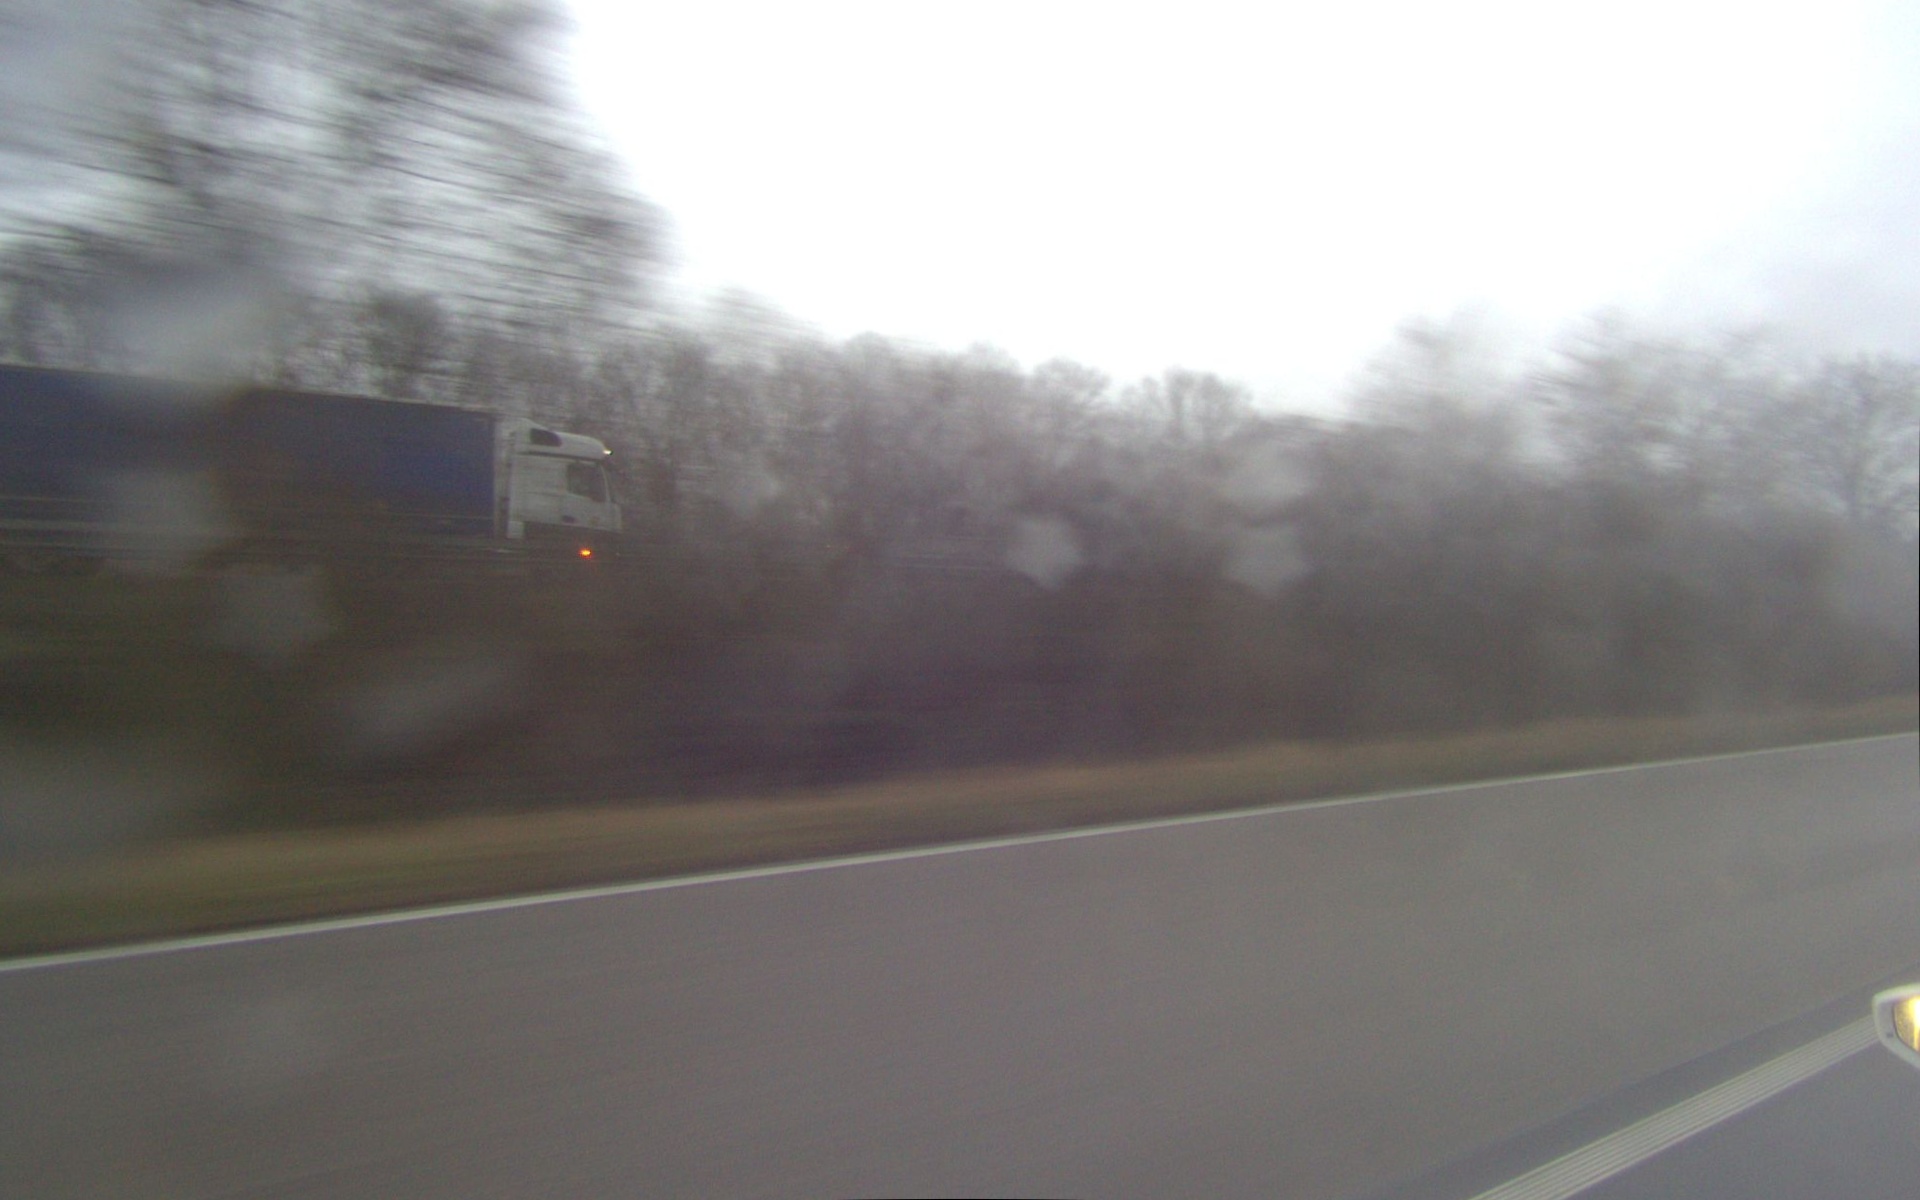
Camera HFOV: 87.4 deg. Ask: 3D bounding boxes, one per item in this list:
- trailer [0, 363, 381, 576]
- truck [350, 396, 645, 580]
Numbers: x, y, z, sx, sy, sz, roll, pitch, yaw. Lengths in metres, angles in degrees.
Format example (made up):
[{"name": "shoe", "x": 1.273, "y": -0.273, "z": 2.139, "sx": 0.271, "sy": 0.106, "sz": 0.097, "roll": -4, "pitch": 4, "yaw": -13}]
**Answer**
[{"name": "trailer", "x": -17.899, "y": -2.451, "z": 19.687, "sx": 11.249, "sy": 3.682, "sz": 2.985, "roll": 0, "pitch": 0, "yaw": -30}, {"name": "truck", "x": -10.809, "y": -2.391, "z": 23.733, "sx": 5.993, "sy": 3.680, "sz": 2.979, "roll": 0, "pitch": 0, "yaw": -29}]
